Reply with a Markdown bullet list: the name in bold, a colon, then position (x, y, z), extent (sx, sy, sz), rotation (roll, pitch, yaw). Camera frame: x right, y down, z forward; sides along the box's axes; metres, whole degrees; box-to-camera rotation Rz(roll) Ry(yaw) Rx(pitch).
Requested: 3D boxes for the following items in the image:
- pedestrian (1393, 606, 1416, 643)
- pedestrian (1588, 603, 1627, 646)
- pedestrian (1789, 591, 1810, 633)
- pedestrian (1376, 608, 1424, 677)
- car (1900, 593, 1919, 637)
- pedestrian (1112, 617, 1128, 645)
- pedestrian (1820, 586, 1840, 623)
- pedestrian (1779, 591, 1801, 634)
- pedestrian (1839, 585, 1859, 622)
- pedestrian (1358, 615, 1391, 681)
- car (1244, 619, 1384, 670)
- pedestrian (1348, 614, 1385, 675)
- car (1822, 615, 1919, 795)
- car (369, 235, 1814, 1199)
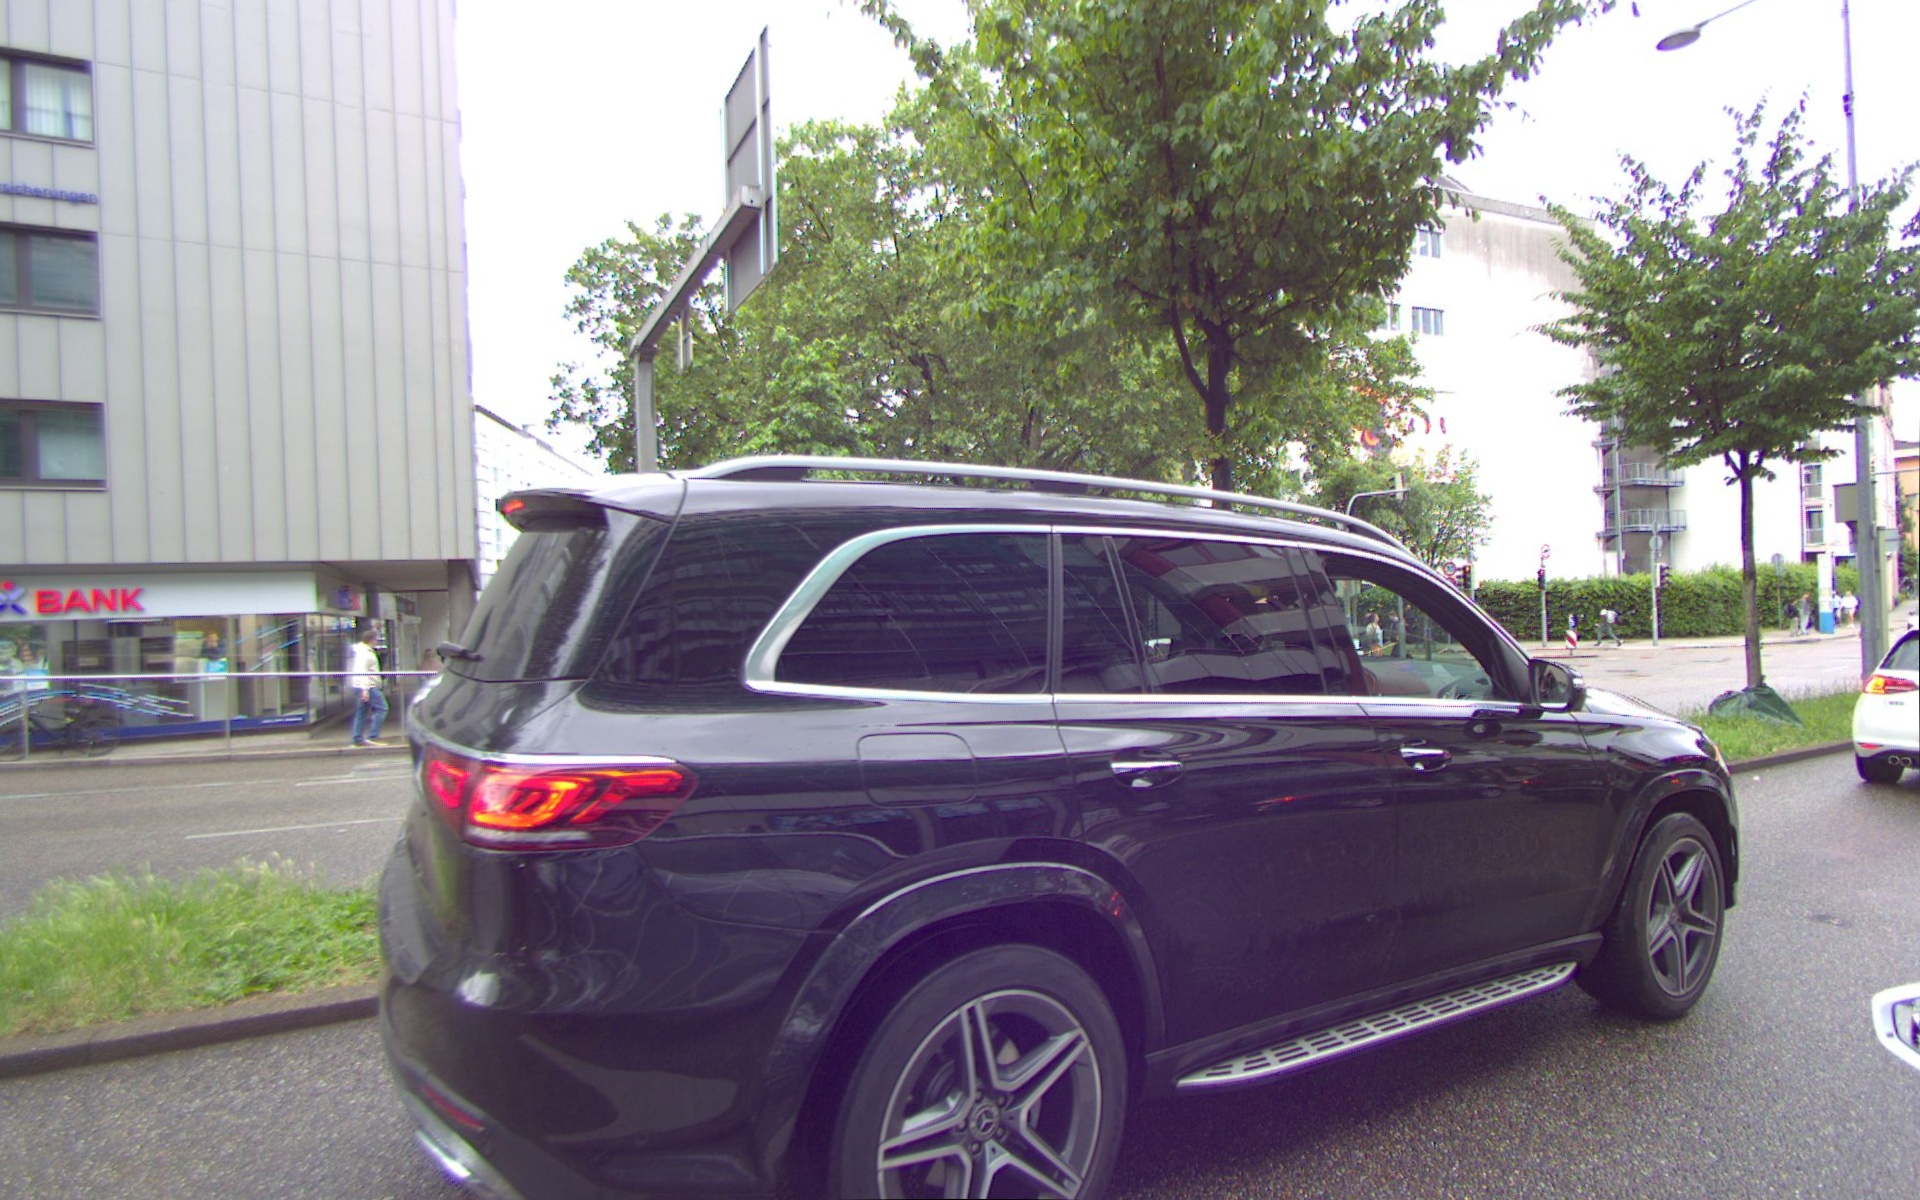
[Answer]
- **pedestrian**: position (20.678, 1.143, 46.742), extent (0.633, 1.664, 0.726), rotation (2, -1, -37)
- **pedestrian**: position (24.993, 0.946, 38.774), extent (0.677, 1.599, 1.055), rotation (2, -1, -34)
- **pedestrian**: position (36.058, 0.527, 43.124), extent (0.559, 1.771, 0.535), rotation (2, -1, -35)
- **pedestrian**: position (11.825, 1.131, 27.025), extent (0.702, 1.807, 0.917), rotation (2, -1, -35)
- **car**: position (34.899, 0.515, 35.589), extent (3.571, 1.506, 1.565), rotation (0, 1, -33)
- **pedestrian**: position (10.033, 1.946, 63.031), extent (0.723, 1.664, 0.635), rotation (2, -1, -23)
- **pedestrian**: position (42.040, 0.227, 48.525), extent (0.651, 1.751, 0.591), rotation (2, -1, -38)
- **pedestrian**: position (34.796, 0.538, 42.098), extent (0.741, 1.771, 0.535), rotation (2, -1, -38)
- **pedestrian**: position (42.719, 0.177, 48.264), extent (0.651, 1.751, 0.591), rotation (2, -1, -38)
- **pedestrian**: position (10.863, 1.240, 26.328), extent (0.572, 1.684, 0.554), rotation (-2, 0, -30)
- **car**: position (11.797, 1.437, 33.715), extent (1.624, 1.506, 4.258), rotation (0, 1, -39)
- **pedestrian**: position (11.597, 1.263, 28.662), extent (0.620, 1.684, 0.749), rotation (-2, 0, -30)
- **car**: position (9.541, 0.874, 8.968), extent (3.799, 1.448, 1.768), rotation (0, 0, -32)
- **car**: position (0.832, 0.505, 3.587), extent (5.016, 1.895, 1.901), rotation (2, -1, -31)
